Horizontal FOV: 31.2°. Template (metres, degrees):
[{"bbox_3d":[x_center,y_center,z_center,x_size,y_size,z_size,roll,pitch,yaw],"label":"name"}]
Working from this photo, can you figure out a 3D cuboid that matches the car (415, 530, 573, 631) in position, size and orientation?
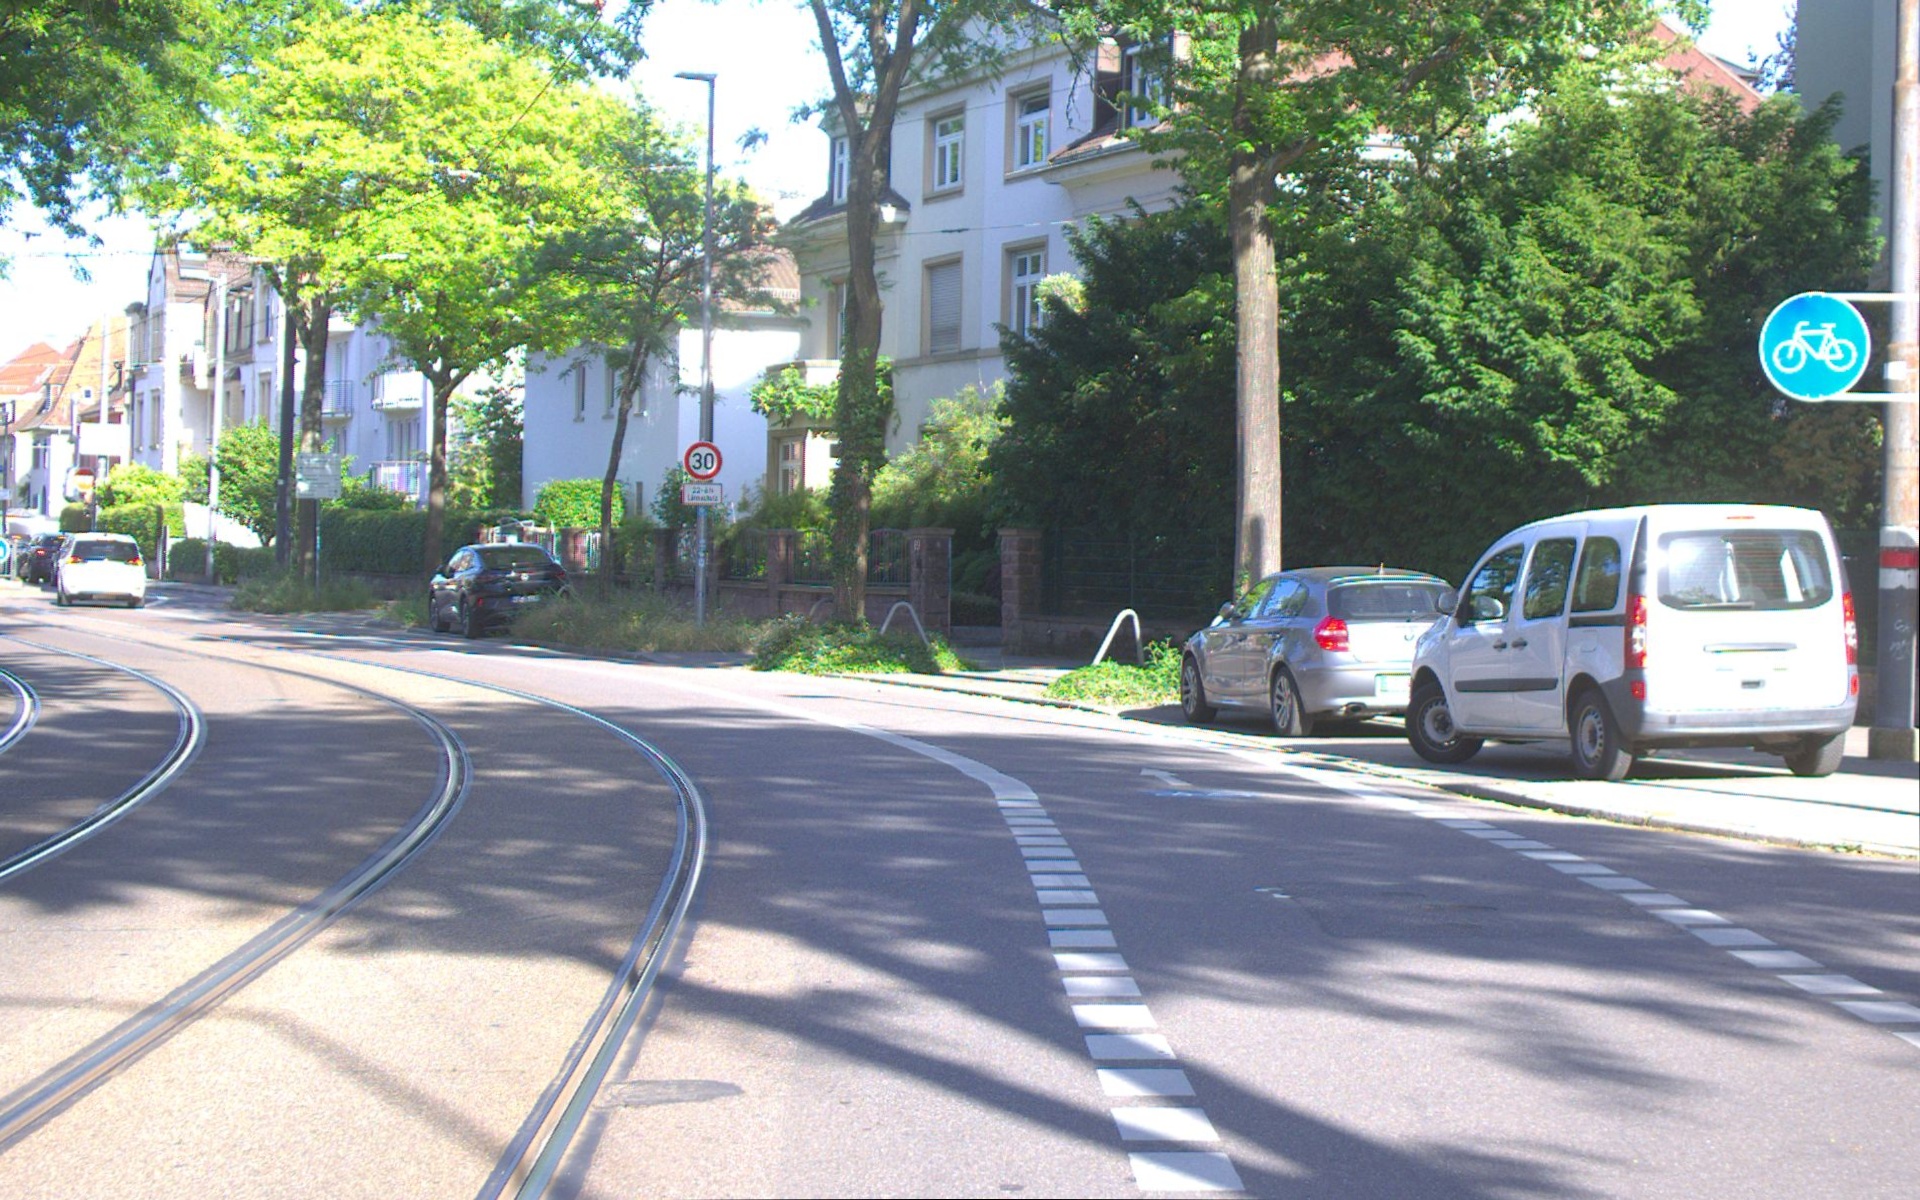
[{"bbox_3d":[-8.459,-0.392,62.057,1.804,1.688,4.730,-3,2,-20],"label":"car"}]

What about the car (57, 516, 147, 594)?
[{"bbox_3d":[-19.284,-0.985,77.368,1.892,1.605,4.230,1,-1,-13],"label":"car"}]

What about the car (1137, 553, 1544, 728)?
[{"bbox_3d":[3.237,0.314,30.179,1.993,1.418,4.334,1,0,-17],"label":"car"}]

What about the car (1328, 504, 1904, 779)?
[{"bbox_3d":[4.469,0.218,24.295,2.022,1.741,4.753,1,1,-16],"label":"car"}]
